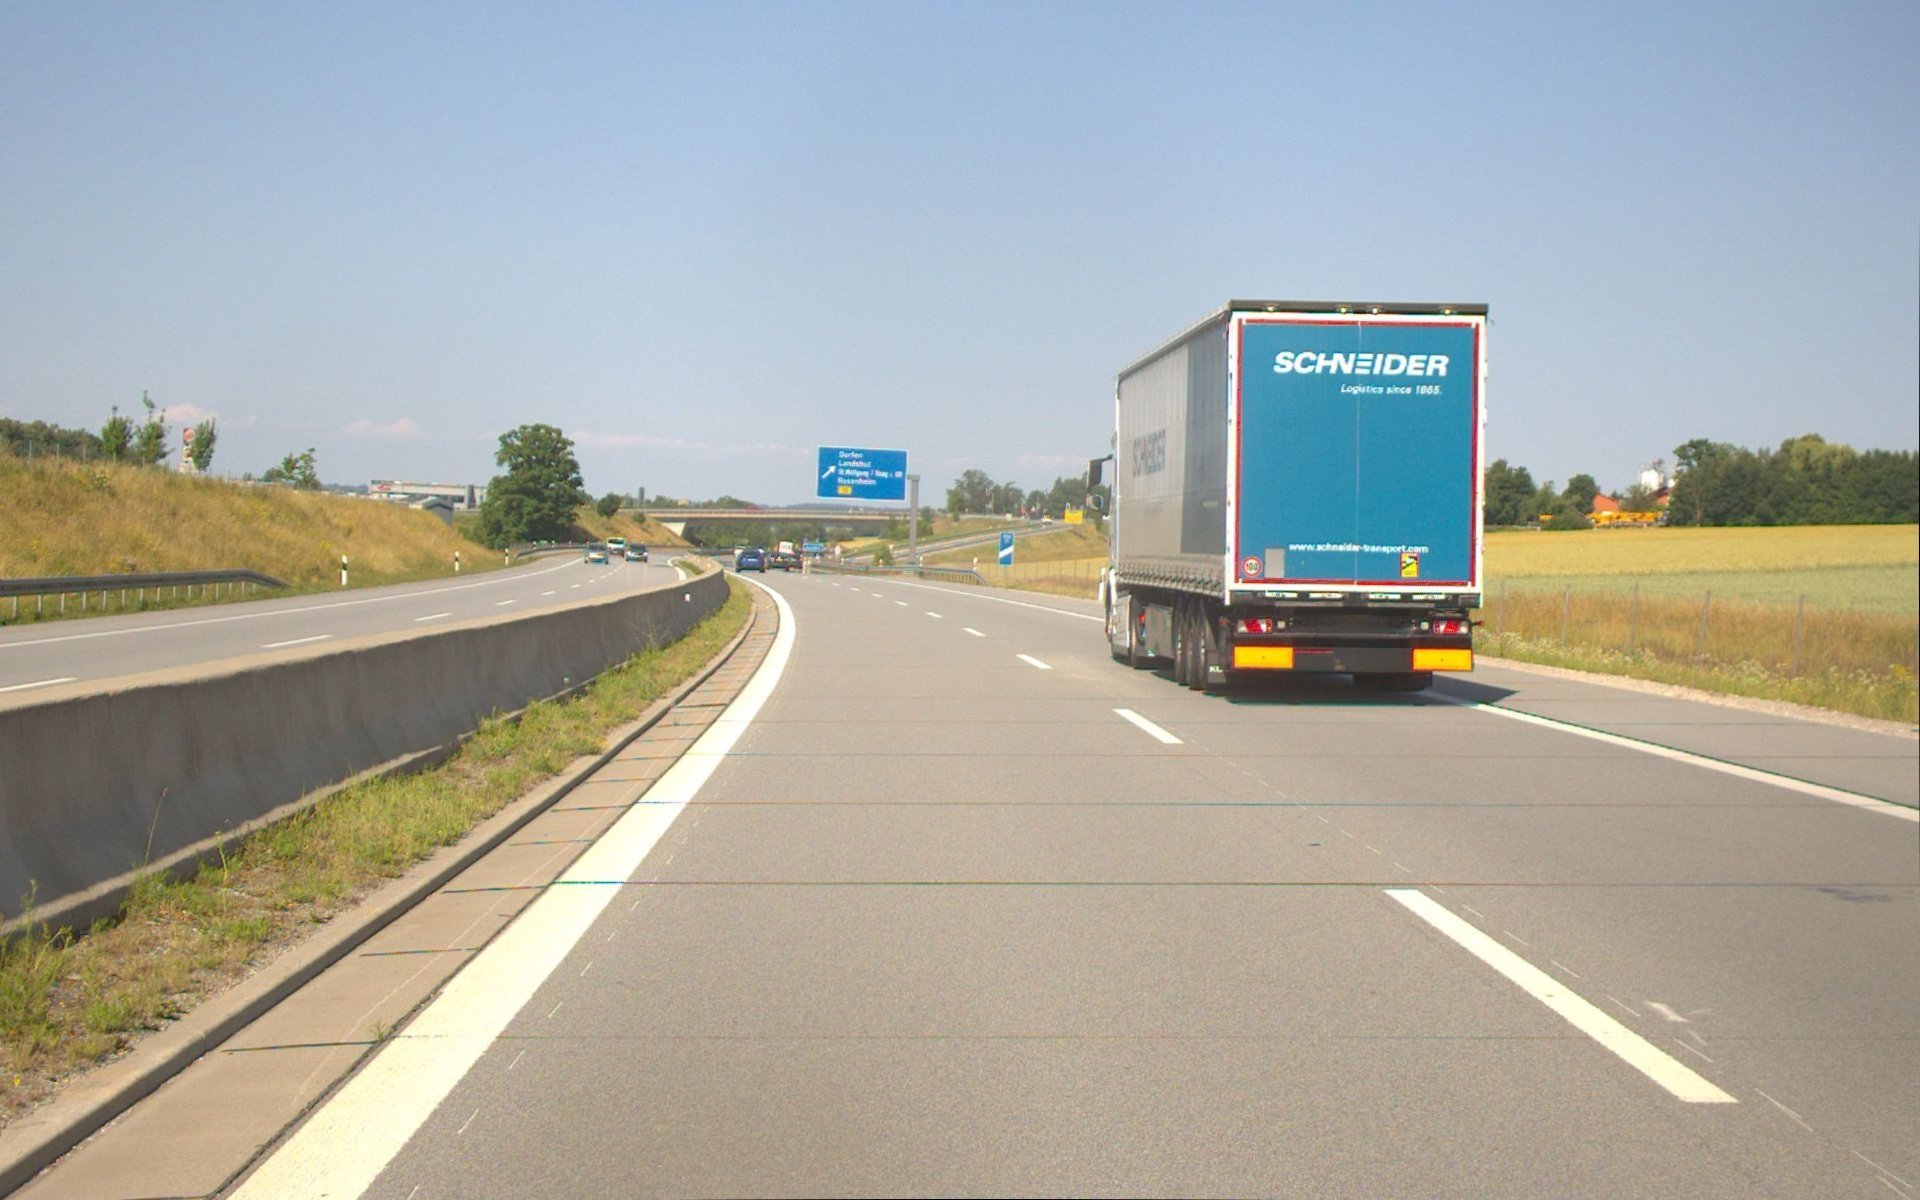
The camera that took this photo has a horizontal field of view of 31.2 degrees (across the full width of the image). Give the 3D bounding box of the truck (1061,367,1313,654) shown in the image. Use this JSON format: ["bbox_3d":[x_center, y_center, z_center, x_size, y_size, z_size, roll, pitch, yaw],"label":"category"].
[{"bbox_3d":[3.279,-1.320,51.244,3.082,4.000,6.190,0,1,-2],"label":"truck"}]

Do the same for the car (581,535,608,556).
[{"bbox_3d":[-25.943,-3.898,244.157,1.879,1.497,4.566,0,1,-5],"label":"car"}]

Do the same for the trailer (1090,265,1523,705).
[{"bbox_3d":[3.662,-1.260,41.180,3.176,4.279,15.461,0,1,-2],"label":"trailer"}]

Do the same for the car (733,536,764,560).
[{"bbox_3d":[-13.879,-3.421,225.403,1.993,1.546,4.001,0,1,-3],"label":"car"}]
